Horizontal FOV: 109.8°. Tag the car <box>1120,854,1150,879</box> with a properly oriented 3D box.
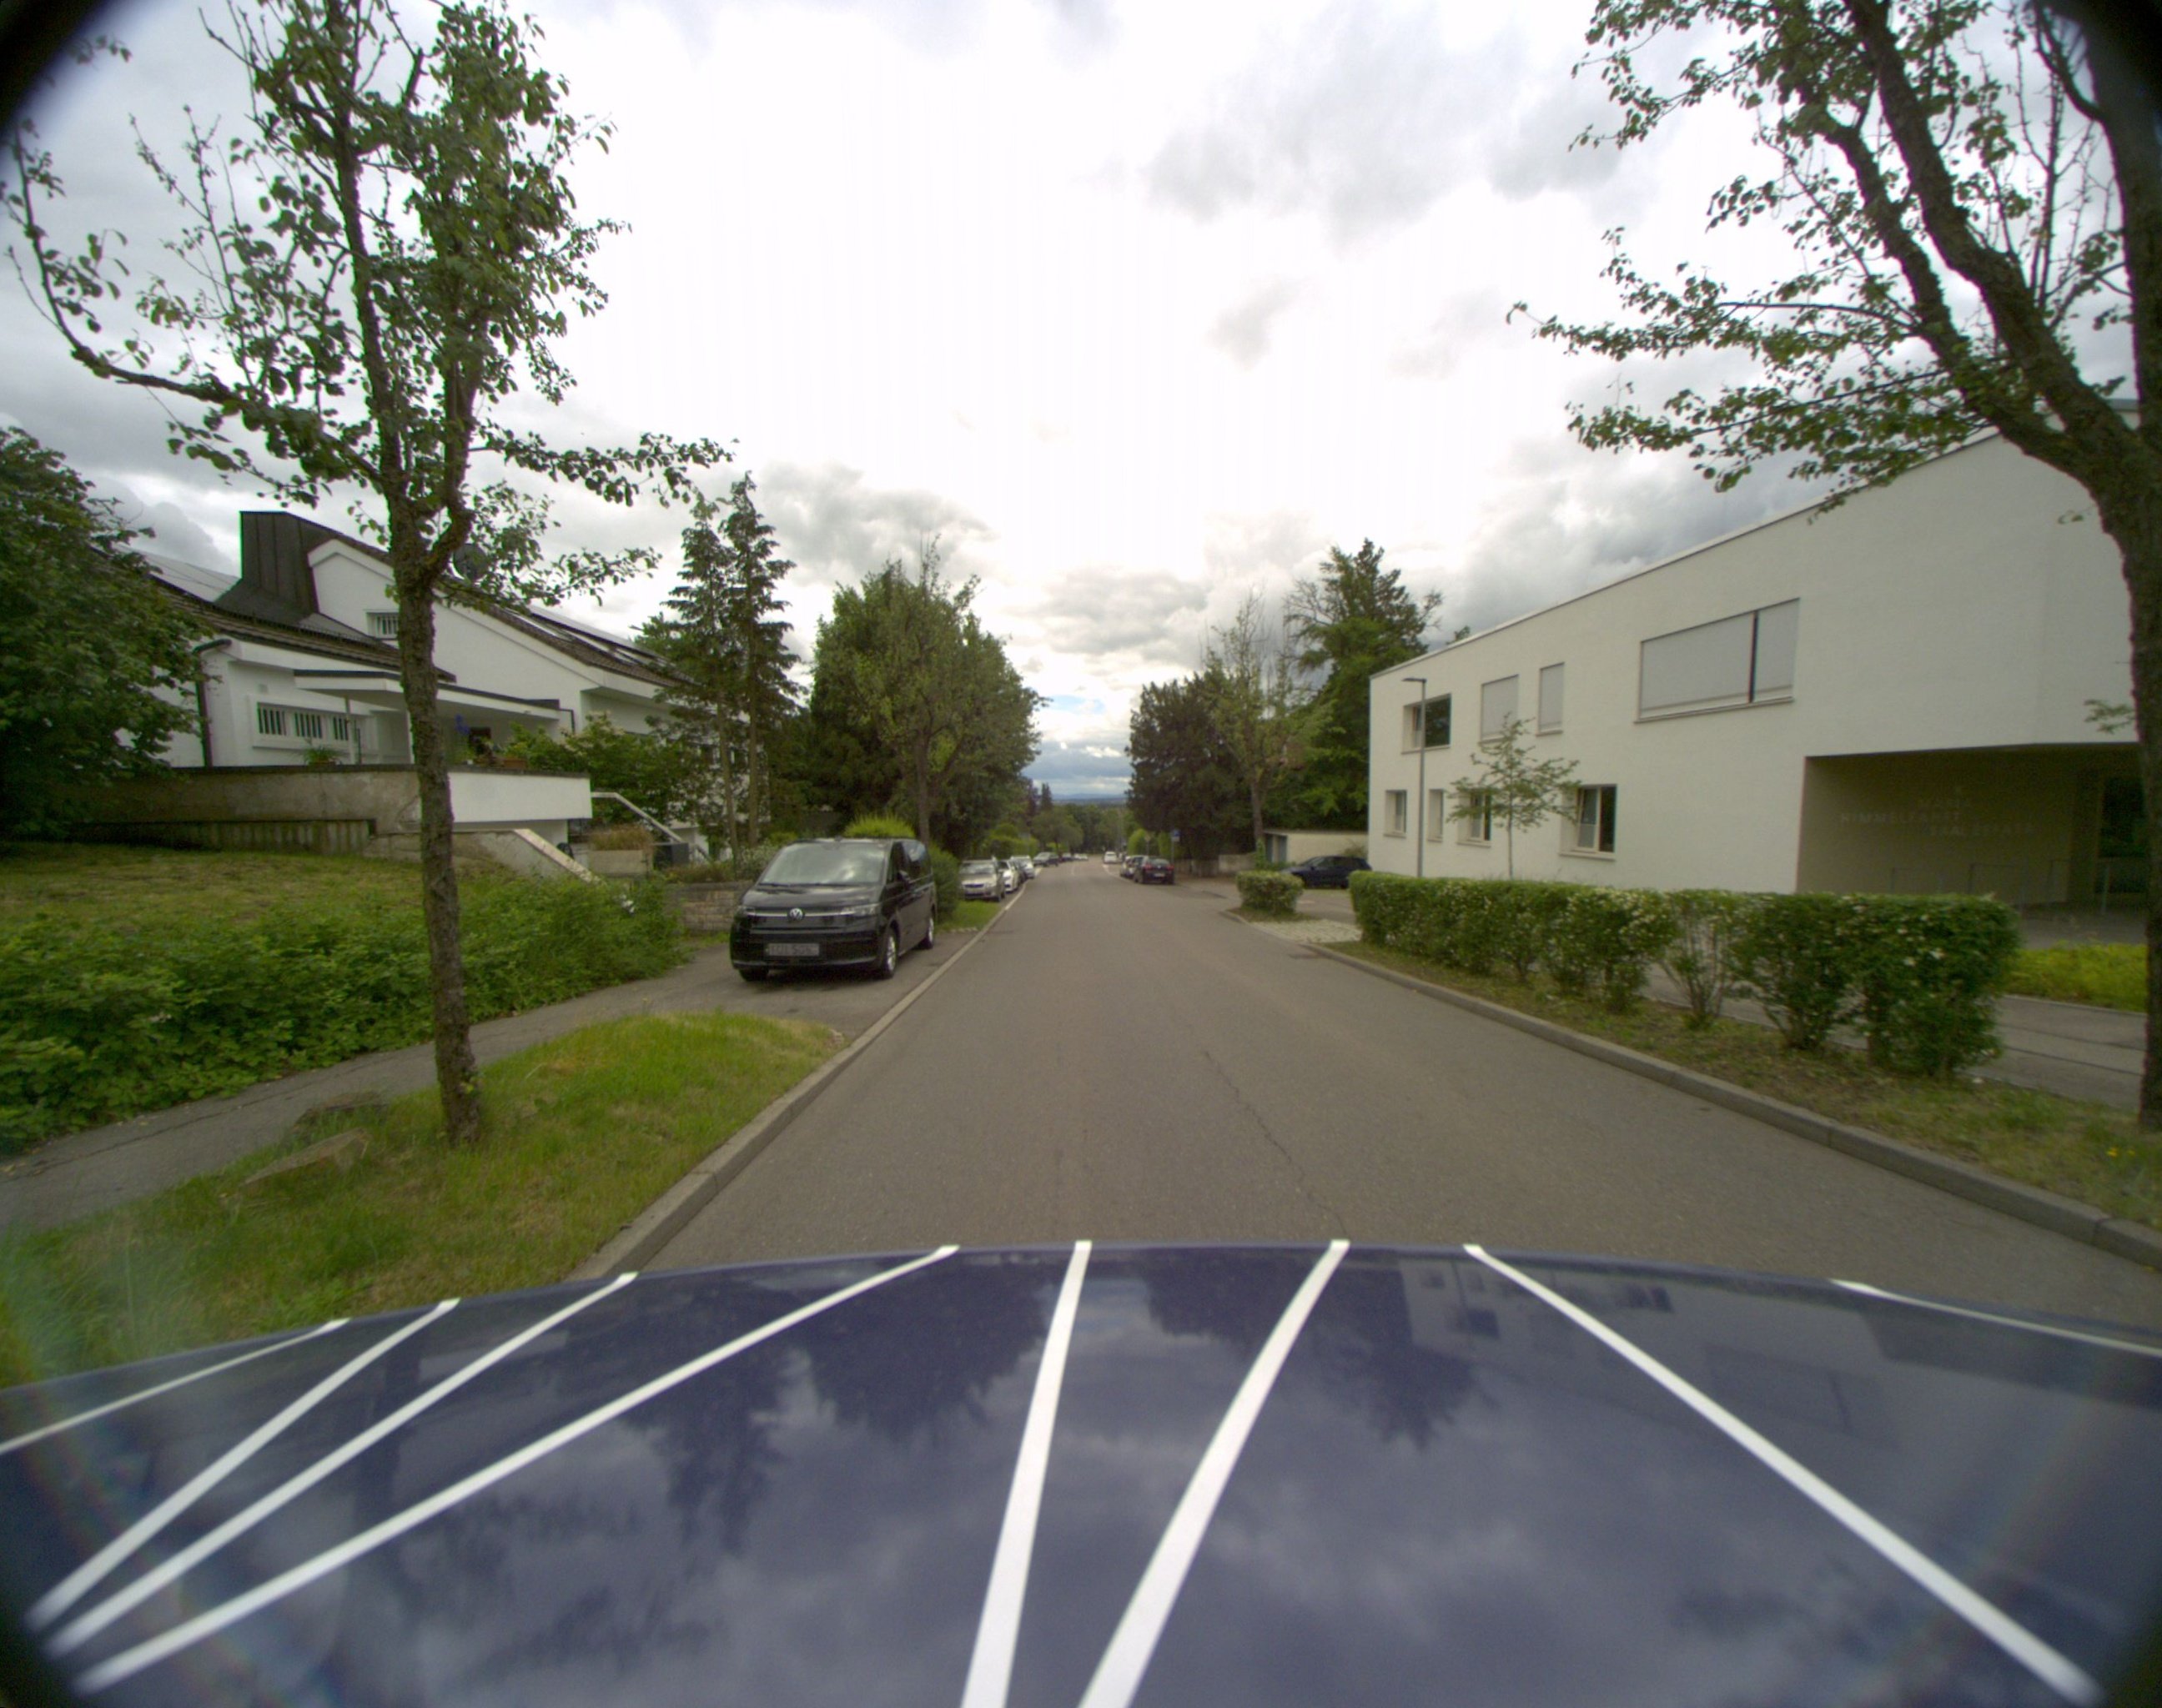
[{"bbox_3d":[3.468,0.794,49.552,1.628,1.510,2.974,-1,1,-2],"label":"car"}]

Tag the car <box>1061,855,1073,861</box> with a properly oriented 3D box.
[{"bbox_3d":[-2.629,0.770,144.556,1.998,1.221,4.000,-1,0,2],"label":"car"}]

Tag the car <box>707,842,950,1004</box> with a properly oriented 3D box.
[{"bbox_3d":[-3.340,0.782,11.312,1.941,1.827,5.218,-1,0,-1],"label":"car"}]

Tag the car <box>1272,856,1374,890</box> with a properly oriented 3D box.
[{"bbox_3d":[10.249,0.781,32.392,3.804,1.346,1.741,-1,0,0],"label":"car"}]

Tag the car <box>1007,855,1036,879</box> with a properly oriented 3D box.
[{"bbox_3d":[-4.299,0.882,54.334,2.007,1.599,4.755,0,0,-6],"label":"car"}]

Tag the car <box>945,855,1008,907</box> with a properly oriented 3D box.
[{"bbox_3d":[-3.633,0.899,27.080,1.721,1.623,3.927,-2,0,-1],"label":"car"}]

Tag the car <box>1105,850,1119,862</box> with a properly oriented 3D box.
[{"bbox_3d":[4.048,0.254,98.144,1.693,1.411,3.580,2,0,2],"label":"car"}]

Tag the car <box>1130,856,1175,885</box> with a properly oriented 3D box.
[{"bbox_3d":[3.859,0.856,41.688,1.855,1.461,4.681,0,0,-3],"label":"car"}]

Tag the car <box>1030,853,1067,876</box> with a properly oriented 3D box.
[{"bbox_3d":[-3.469,1.066,81.327,1.996,2.002,4.005,-6,1,27],"label":"car"}]

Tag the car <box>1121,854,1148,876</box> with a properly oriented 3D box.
[{"bbox_3d":[3.736,0.744,53.532,1.748,1.439,3.514,1,1,3],"label":"car"}]

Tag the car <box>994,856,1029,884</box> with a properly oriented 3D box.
[{"bbox_3d":[-4.023,0.893,44.694,1.702,1.499,4.159,-3,0,-1],"label":"car"}]

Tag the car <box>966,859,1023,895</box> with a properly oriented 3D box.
[{"bbox_3d":[-3.775,0.974,33.919,1.999,1.483,5.004,0,0,-1],"label":"car"}]

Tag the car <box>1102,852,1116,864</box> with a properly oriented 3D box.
[{"bbox_3d":[3.828,0.481,103.343,1.786,1.481,4.739,3,1,2],"label":"car"}]
